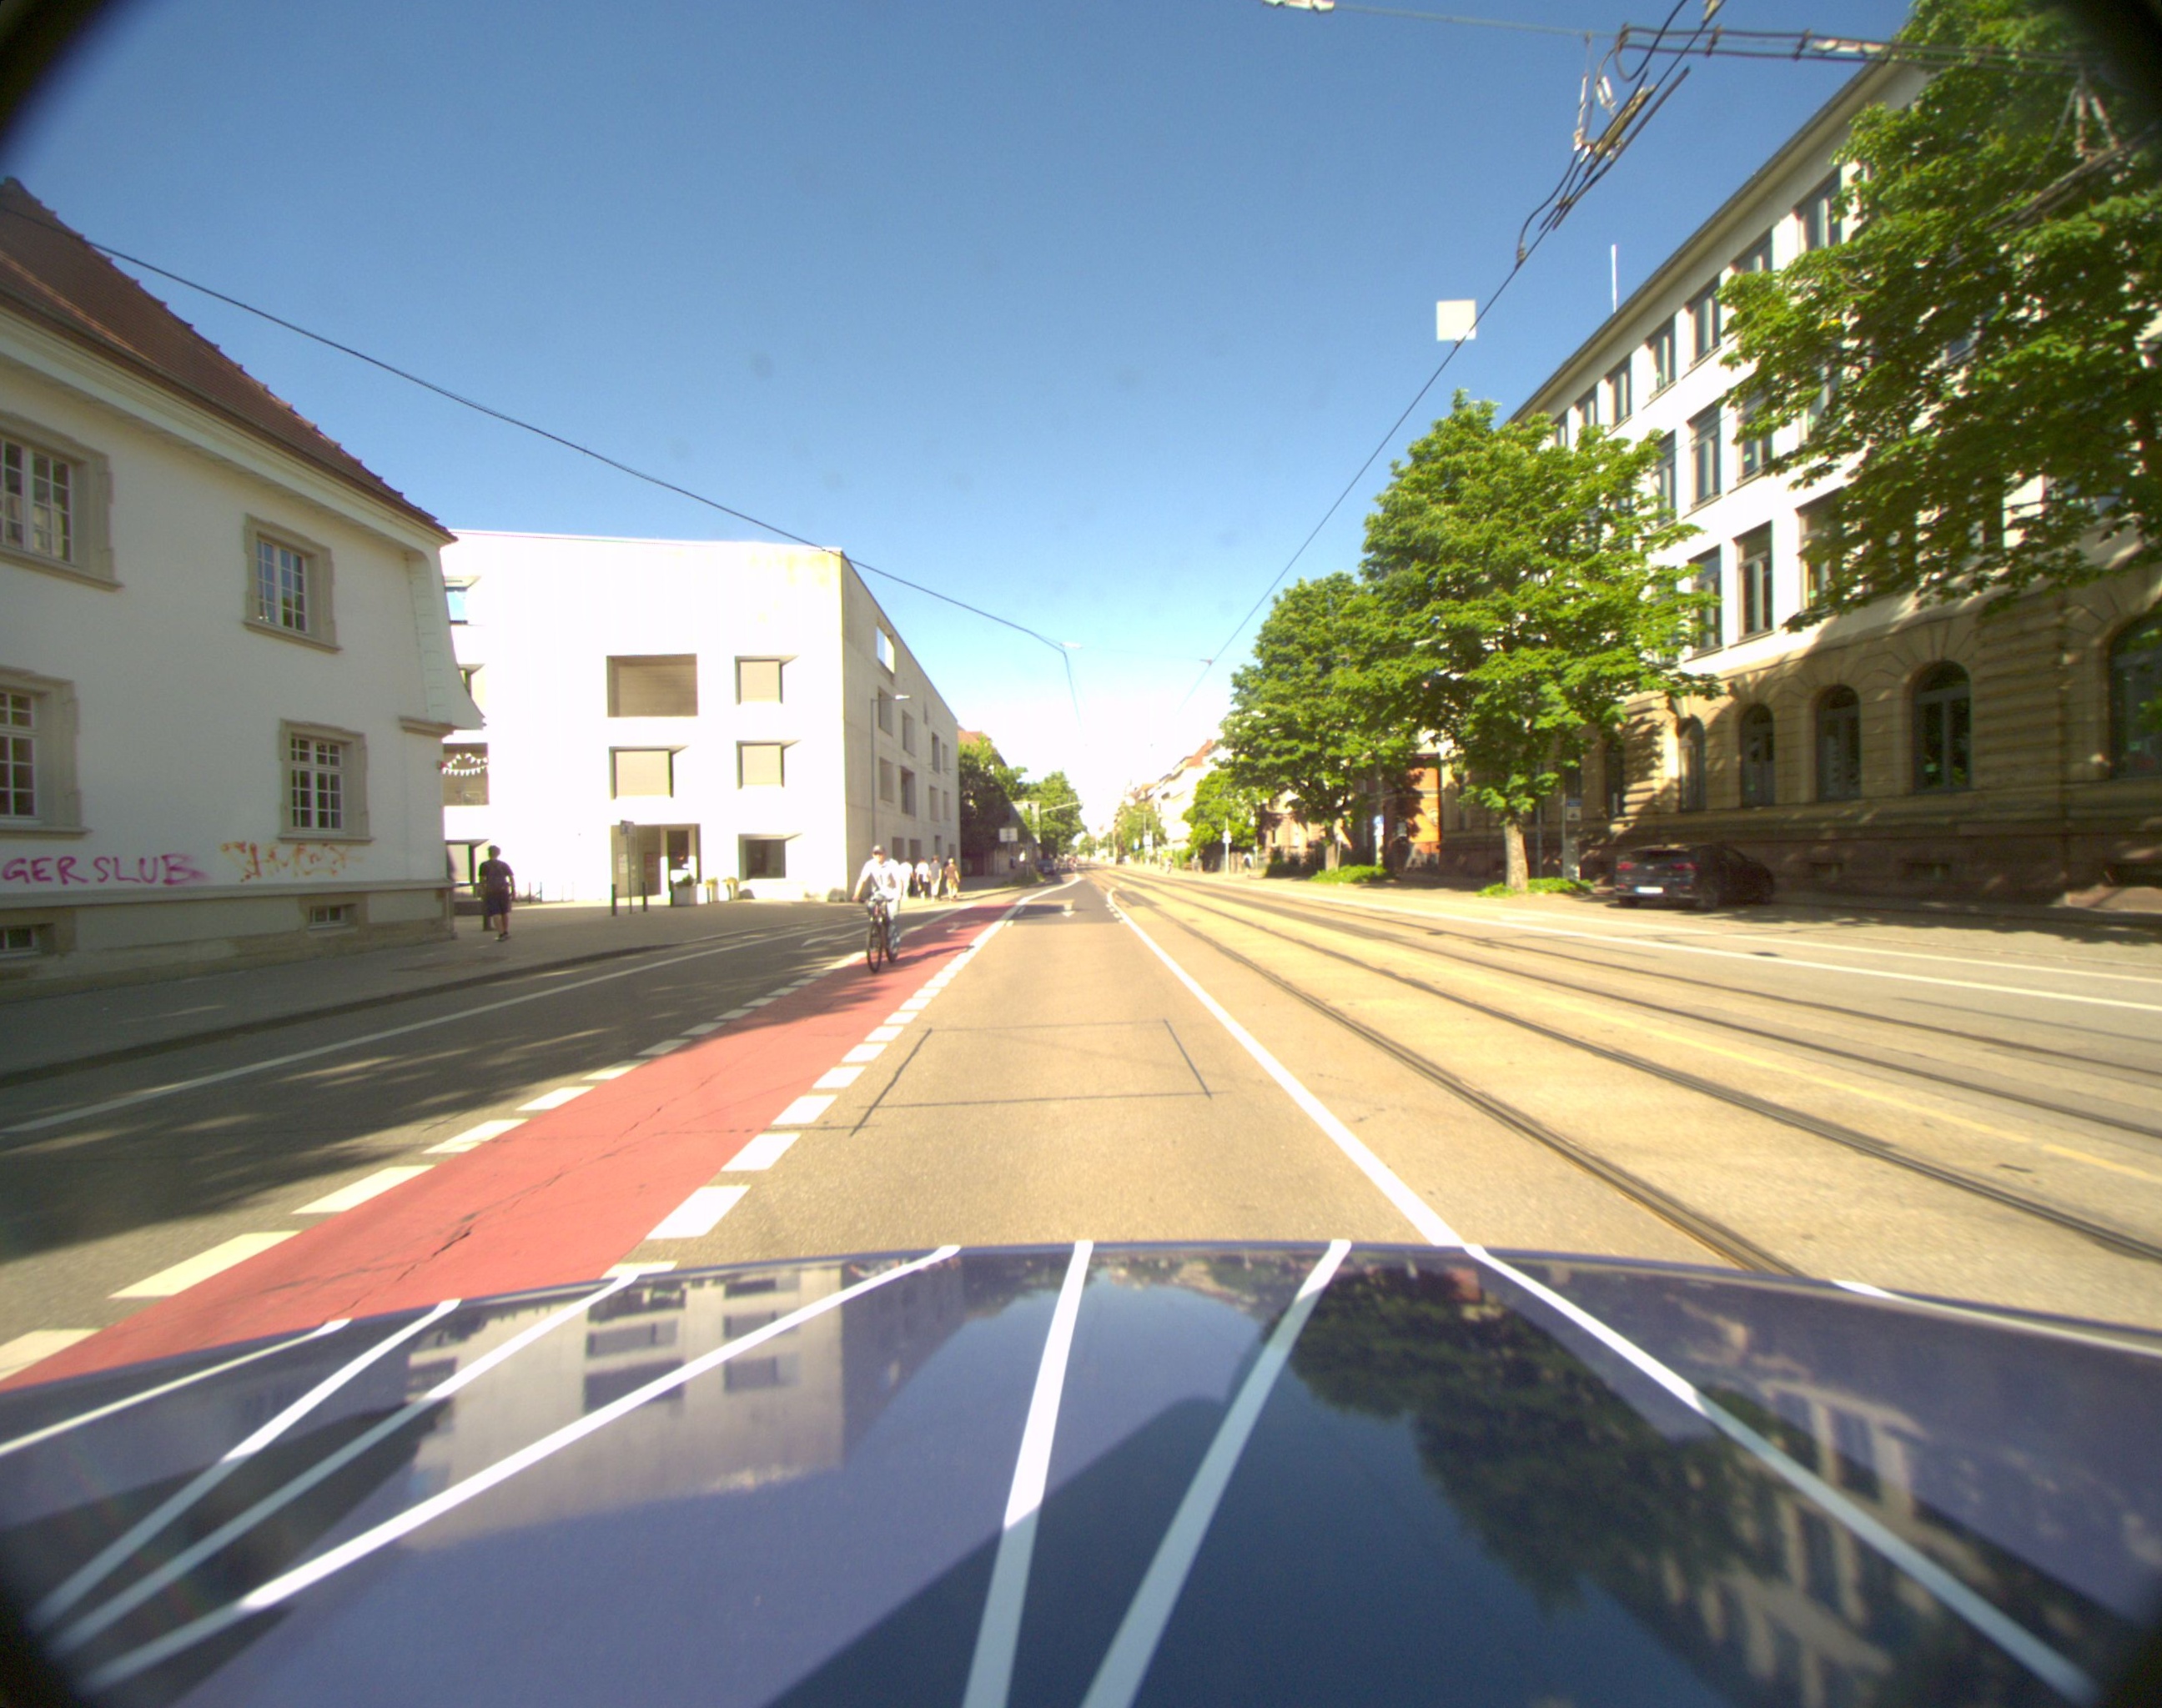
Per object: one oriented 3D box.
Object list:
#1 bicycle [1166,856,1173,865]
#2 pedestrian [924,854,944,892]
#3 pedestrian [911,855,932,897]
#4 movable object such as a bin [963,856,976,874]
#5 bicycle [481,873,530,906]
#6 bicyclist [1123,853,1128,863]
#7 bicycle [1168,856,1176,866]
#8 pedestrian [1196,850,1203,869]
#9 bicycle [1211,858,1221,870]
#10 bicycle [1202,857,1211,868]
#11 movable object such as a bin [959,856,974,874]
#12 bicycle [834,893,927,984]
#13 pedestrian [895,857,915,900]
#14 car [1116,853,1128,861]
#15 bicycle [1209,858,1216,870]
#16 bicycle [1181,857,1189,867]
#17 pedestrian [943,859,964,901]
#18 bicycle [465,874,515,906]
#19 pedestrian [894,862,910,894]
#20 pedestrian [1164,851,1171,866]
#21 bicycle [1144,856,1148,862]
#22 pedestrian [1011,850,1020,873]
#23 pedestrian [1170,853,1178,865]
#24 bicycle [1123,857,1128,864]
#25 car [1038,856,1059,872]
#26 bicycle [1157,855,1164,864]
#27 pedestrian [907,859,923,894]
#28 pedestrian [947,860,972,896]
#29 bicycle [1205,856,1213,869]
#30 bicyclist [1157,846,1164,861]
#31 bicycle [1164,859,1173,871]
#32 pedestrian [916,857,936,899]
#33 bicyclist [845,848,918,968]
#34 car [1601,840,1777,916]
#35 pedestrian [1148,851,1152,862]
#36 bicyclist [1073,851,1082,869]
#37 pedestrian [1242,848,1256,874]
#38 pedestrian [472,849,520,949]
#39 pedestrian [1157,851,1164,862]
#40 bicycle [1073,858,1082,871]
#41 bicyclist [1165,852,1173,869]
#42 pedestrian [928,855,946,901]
[{"bbox_3d":[11.486,0.857,98.559,0.663,1.083,1.840,-4,1,0],"label":"bicycle"},{"bbox_3d":[-6.984,0.892,36.165,0.649,1.753,0.956,3,1,2],"label":"pedestrian"},{"bbox_3d":[-7.035,0.949,33.537,0.658,1.792,0.732,2,1,7],"label":"pedestrian"},{"bbox_3d":[-9.242,0.874,62.917,0.936,1.455,1.331,-1,0,-2],"label":"movable object such as a bin"},{"bbox_3d":[-21.051,1.283,27.805,0.498,1.089,1.587,-1,1,3],"label":"bicycle"},{"bbox_3d":[7.104,0.687,121.658,0.747,1.590,1.118,2,1,0],"label":"bicyclist"},{"bbox_3d":[11.528,0.880,96.499,0.663,1.083,1.840,-4,1,0],"label":"bicycle"},{"bbox_3d":[11.479,0.485,73.669,0.576,1.821,0.690,-1,1,18],"label":"pedestrian"},{"bbox_3d":[12.030,0.893,67.520,0.591,1.039,1.905,-3,0,3],"label":"bicycle"},{"bbox_3d":[12.186,0.797,73.515,0.637,1.039,2.024,-1,0,16],"label":"bicycle"},{"bbox_3d":[-9.142,0.882,60.907,0.935,1.455,1.355,-1,0,1],"label":"movable object such as a bin"},{"bbox_3d":[-2.934,1.206,11.352,0.740,1.088,2.111,-3,0,1],"label":"bicycle"},{"bbox_3d":[-7.428,1.008,32.116,0.611,1.764,0.653,3,1,1],"label":"pedestrian"},{"bbox_3d":[8.078,0.510,150.282,1.869,1.567,4.588,1,0,-1],"label":"car"},{"bbox_3d":[12.085,0.888,69.827,0.591,1.039,1.906,-2,0,7],"label":"bicycle"},{"bbox_3d":[11.578,0.931,84.529,0.640,1.053,1.743,-4,0,0],"label":"bicycle"},{"bbox_3d":[-5.372,1.078,32.057,0.607,1.736,0.718,2,1,7],"label":"pedestrian"},{"bbox_3d":[-21.582,1.297,27.784,0.498,1.089,1.592,-1,1,3],"label":"bicycle"},{"bbox_3d":[-8.176,1.092,34.716,0.519,1.396,0.764,-1,1,2],"label":"pedestrian"},{"bbox_3d":[10.398,0.559,91.442,0.756,1.704,0.808,-3,0,0],"label":"pedestrian"},{"bbox_3d":[10.984,0.814,128.535,0.515,1.032,2.223,-1,0,-1],"label":"bicycle"},{"bbox_3d":[-5.305,0.598,61.540,0.685,1.839,0.955,0,1,-2],"label":"pedestrian"},{"bbox_3d":[11.211,0.589,91.451,0.756,1.469,0.956,-3,0,0],"label":"pedestrian"},{"bbox_3d":[7.095,1.093,121.663,0.747,1.075,1.899,2,0,0],"label":"bicycle"},{"bbox_3d":[-3.142,0.942,72.911,1.827,1.450,4.816,1,0,-4],"label":"car"},{"bbox_3d":[9.770,0.672,93.282,0.705,1.049,1.836,-1,2,12],"label":"bicycle"},{"bbox_3d":[-7.532,1.015,34.528,0.519,1.591,0.764,-1,1,2],"label":"pedestrian"},{"bbox_3d":[-5.495,1.078,34.413,0.830,1.595,0.894,3,1,9],"label":"pedestrian"},{"bbox_3d":[12.136,0.814,72.109,0.647,1.137,1.906,-3,0,7],"label":"bicycle"},{"bbox_3d":[9.757,-0.037,93.265,0.705,1.843,0.986,-1,2,12],"label":"bicyclist"},{"bbox_3d":[8.431,1.013,73.211,0.688,1.118,1.932,1,0,3],"label":"bicycle"},{"bbox_3d":[-6.553,1.004,32.192,0.529,1.764,0.736,3,1,6],"label":"pedestrian"},{"bbox_3d":[-2.953,0.774,11.333,0.740,1.676,0.972,-3,1,1],"label":"bicyclist"},{"bbox_3d":[14.703,0.517,18.349,4.005,1.541,1.873,-2,1,-28],"label":"car"},{"bbox_3d":[11.235,0.382,123.075,0.558,1.771,0.538,-1,1,-4],"label":"pedestrian"},{"bbox_3d":[-0.372,0.589,72.692,0.763,1.728,1.046,-2,0,-1],"label":"bicyclist"},{"bbox_3d":[11.784,0.472,53.273,0.730,1.786,0.781,-4,1,25],"label":"pedestrian"},{"bbox_3d":[-11.612,0.848,15.066,0.641,1.892,1.131,1,1,-43],"label":"pedestrian"},{"bbox_3d":[12.583,0.441,119.724,0.692,1.758,0.868,-1,1,38],"label":"pedestrian"},{"bbox_3d":[-0.352,1.014,72.677,0.763,1.235,2.096,-2,0,-1],"label":"bicycle"},{"bbox_3d":[8.437,0.636,73.226,0.688,1.635,1.238,1,1,3],"label":"bicyclist"},{"bbox_3d":[-6.001,0.978,31.639,0.519,1.891,0.612,2,1,7],"label":"pedestrian"}]
